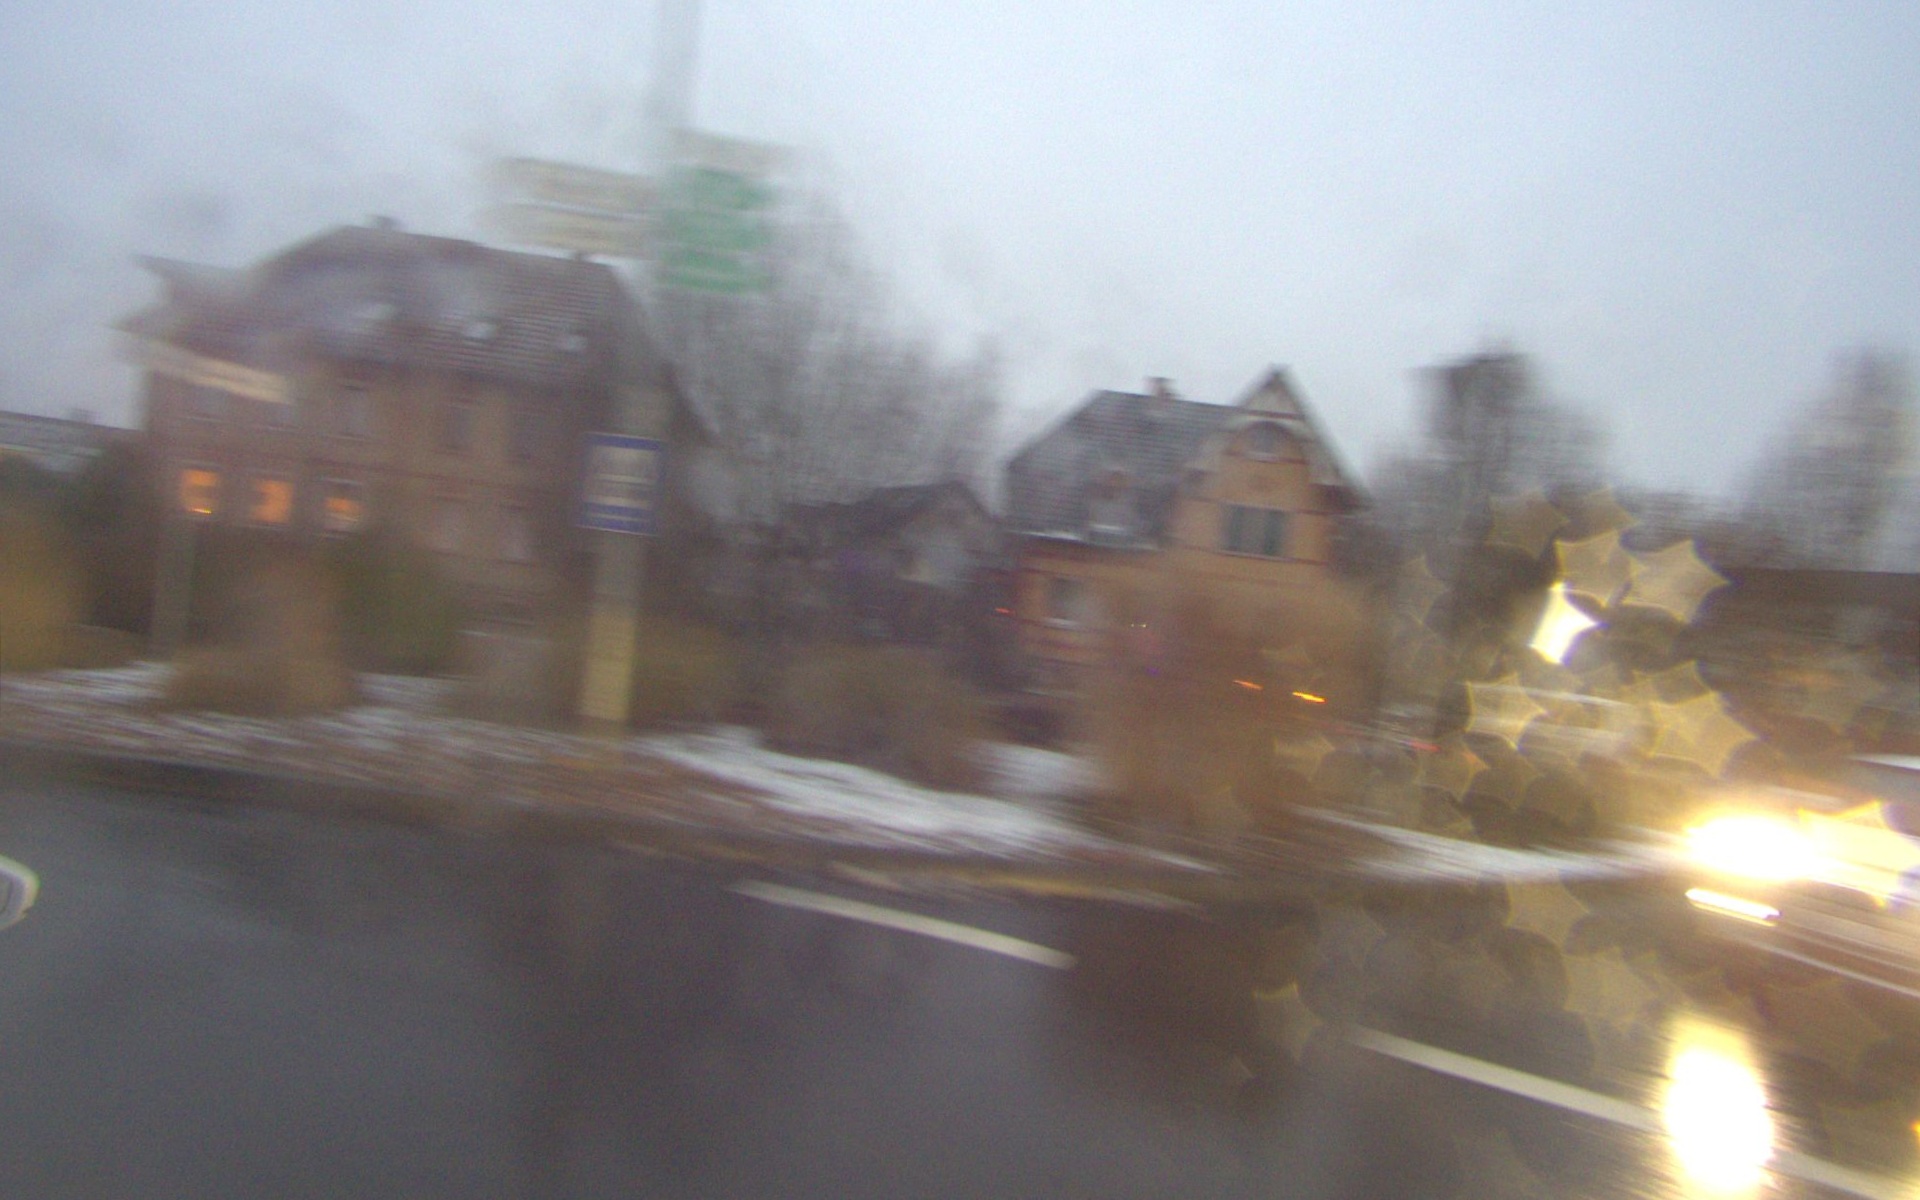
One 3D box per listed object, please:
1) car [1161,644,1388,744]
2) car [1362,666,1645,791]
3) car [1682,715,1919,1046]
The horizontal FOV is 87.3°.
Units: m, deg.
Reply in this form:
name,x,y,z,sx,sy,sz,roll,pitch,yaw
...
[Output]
name,x,y,z,sx,sy,sz,roll,pitch,yaw
car,8.321,2.468,27.067,5.232,1.890,2.366,6,1,1
car,12.207,2.849,22.866,5.150,1.941,1.940,8,-1,2
car,6.320,1.714,6.162,3.673,1.509,1.650,9,-2,-31
